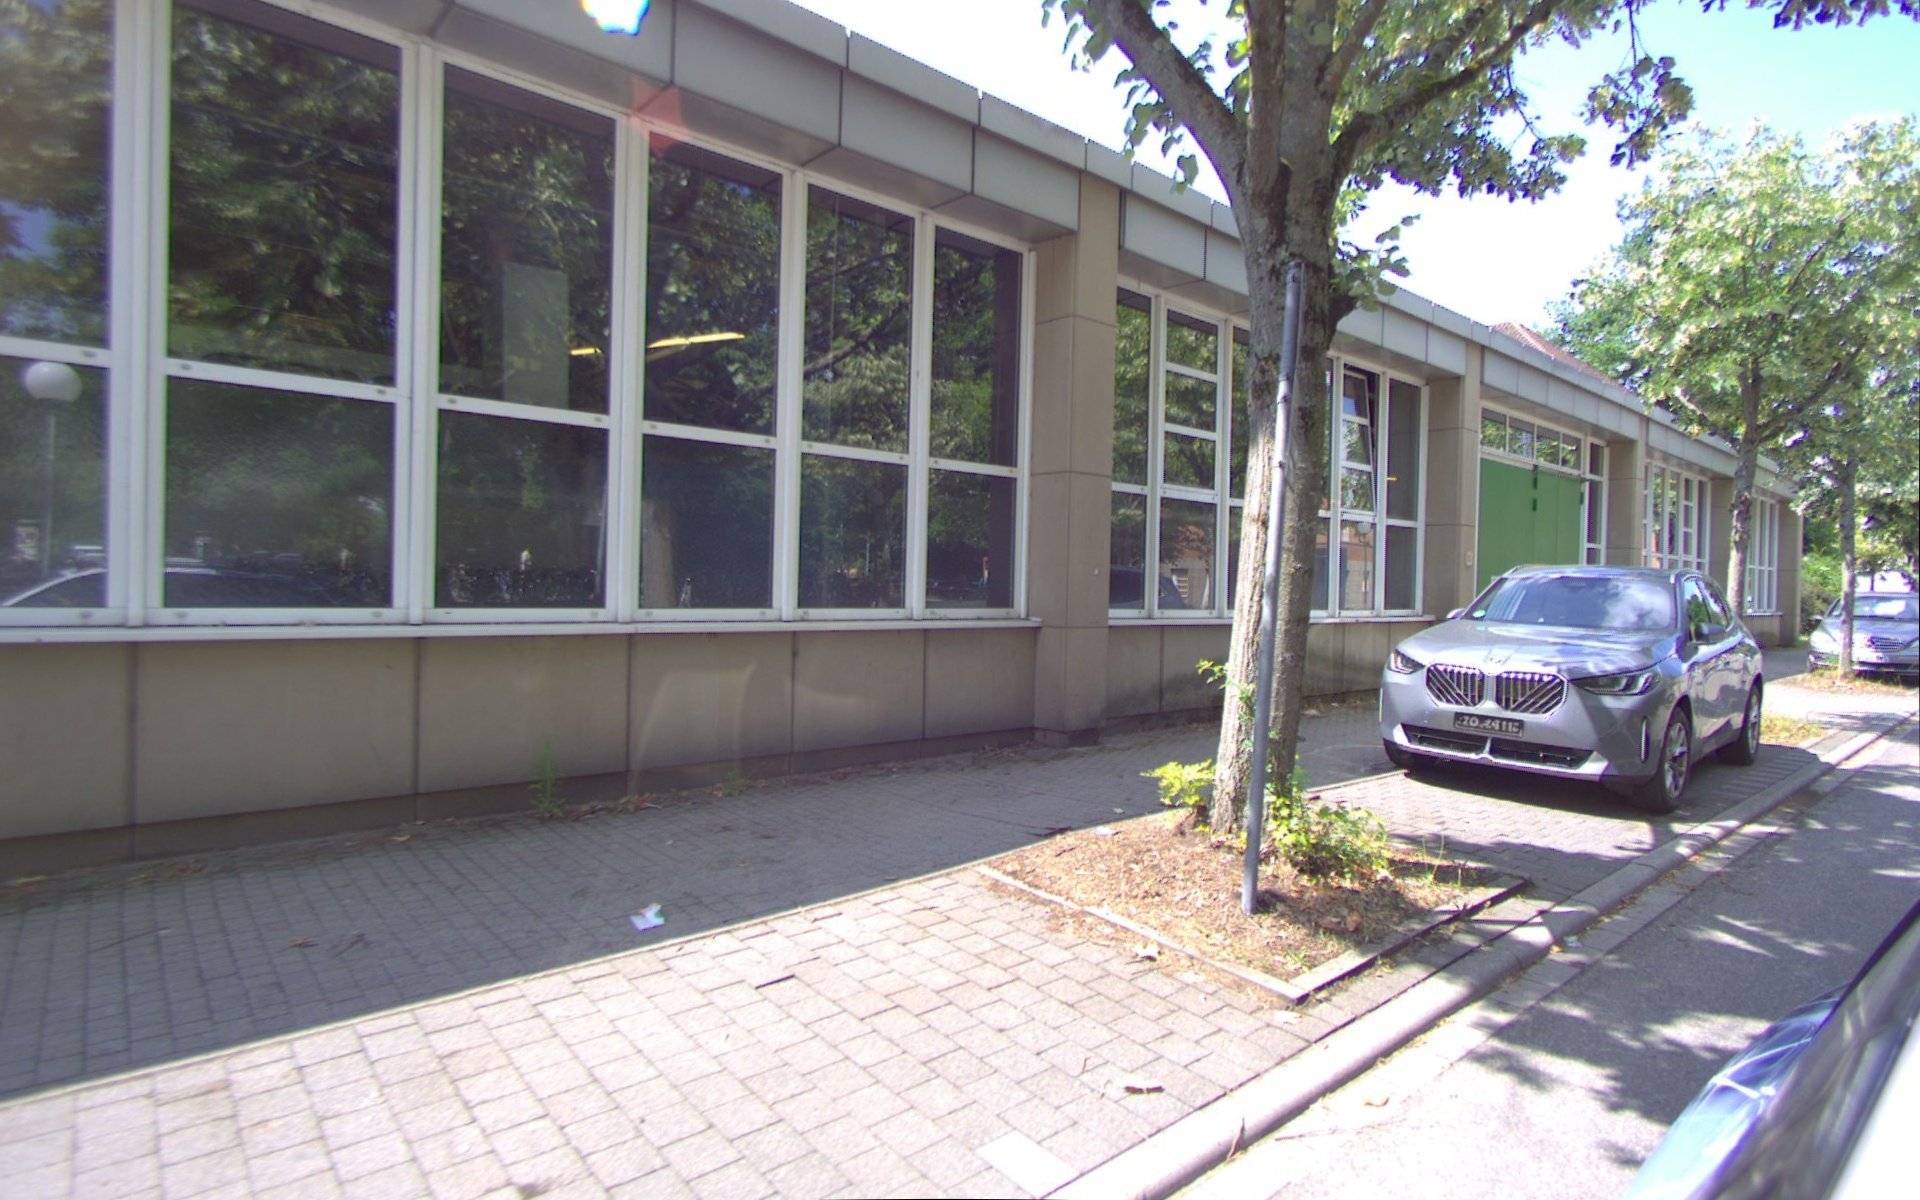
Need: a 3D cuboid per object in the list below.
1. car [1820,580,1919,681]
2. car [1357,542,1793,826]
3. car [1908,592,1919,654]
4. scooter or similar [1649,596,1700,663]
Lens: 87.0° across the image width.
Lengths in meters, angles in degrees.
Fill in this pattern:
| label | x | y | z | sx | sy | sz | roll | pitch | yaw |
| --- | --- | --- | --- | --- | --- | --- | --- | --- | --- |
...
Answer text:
| label | x | y | z | sx | sy | sz | roll | pitch | yaw |
| --- | --- | --- | --- | --- | --- | --- | --- | --- | --- |
| car | 16.865 | 0.504 | 18.117 | 4.070 | 1.593 | 1.707 | 0 | 3 | -43 |
| car | 5.188 | 0.467 | 8.235 | 4.506 | 1.684 | 1.825 | 0 | 2 | -43 |
| car | 25.213 | 0.589 | 25.394 | 4.592 | 1.485 | 1.728 | 0 | 2 | -43 |
| scooter or similar | 13.764 | 0.546 | 19.480 | 1.467 | 1.232 | 0.416 | 0 | 2 | -41 |
